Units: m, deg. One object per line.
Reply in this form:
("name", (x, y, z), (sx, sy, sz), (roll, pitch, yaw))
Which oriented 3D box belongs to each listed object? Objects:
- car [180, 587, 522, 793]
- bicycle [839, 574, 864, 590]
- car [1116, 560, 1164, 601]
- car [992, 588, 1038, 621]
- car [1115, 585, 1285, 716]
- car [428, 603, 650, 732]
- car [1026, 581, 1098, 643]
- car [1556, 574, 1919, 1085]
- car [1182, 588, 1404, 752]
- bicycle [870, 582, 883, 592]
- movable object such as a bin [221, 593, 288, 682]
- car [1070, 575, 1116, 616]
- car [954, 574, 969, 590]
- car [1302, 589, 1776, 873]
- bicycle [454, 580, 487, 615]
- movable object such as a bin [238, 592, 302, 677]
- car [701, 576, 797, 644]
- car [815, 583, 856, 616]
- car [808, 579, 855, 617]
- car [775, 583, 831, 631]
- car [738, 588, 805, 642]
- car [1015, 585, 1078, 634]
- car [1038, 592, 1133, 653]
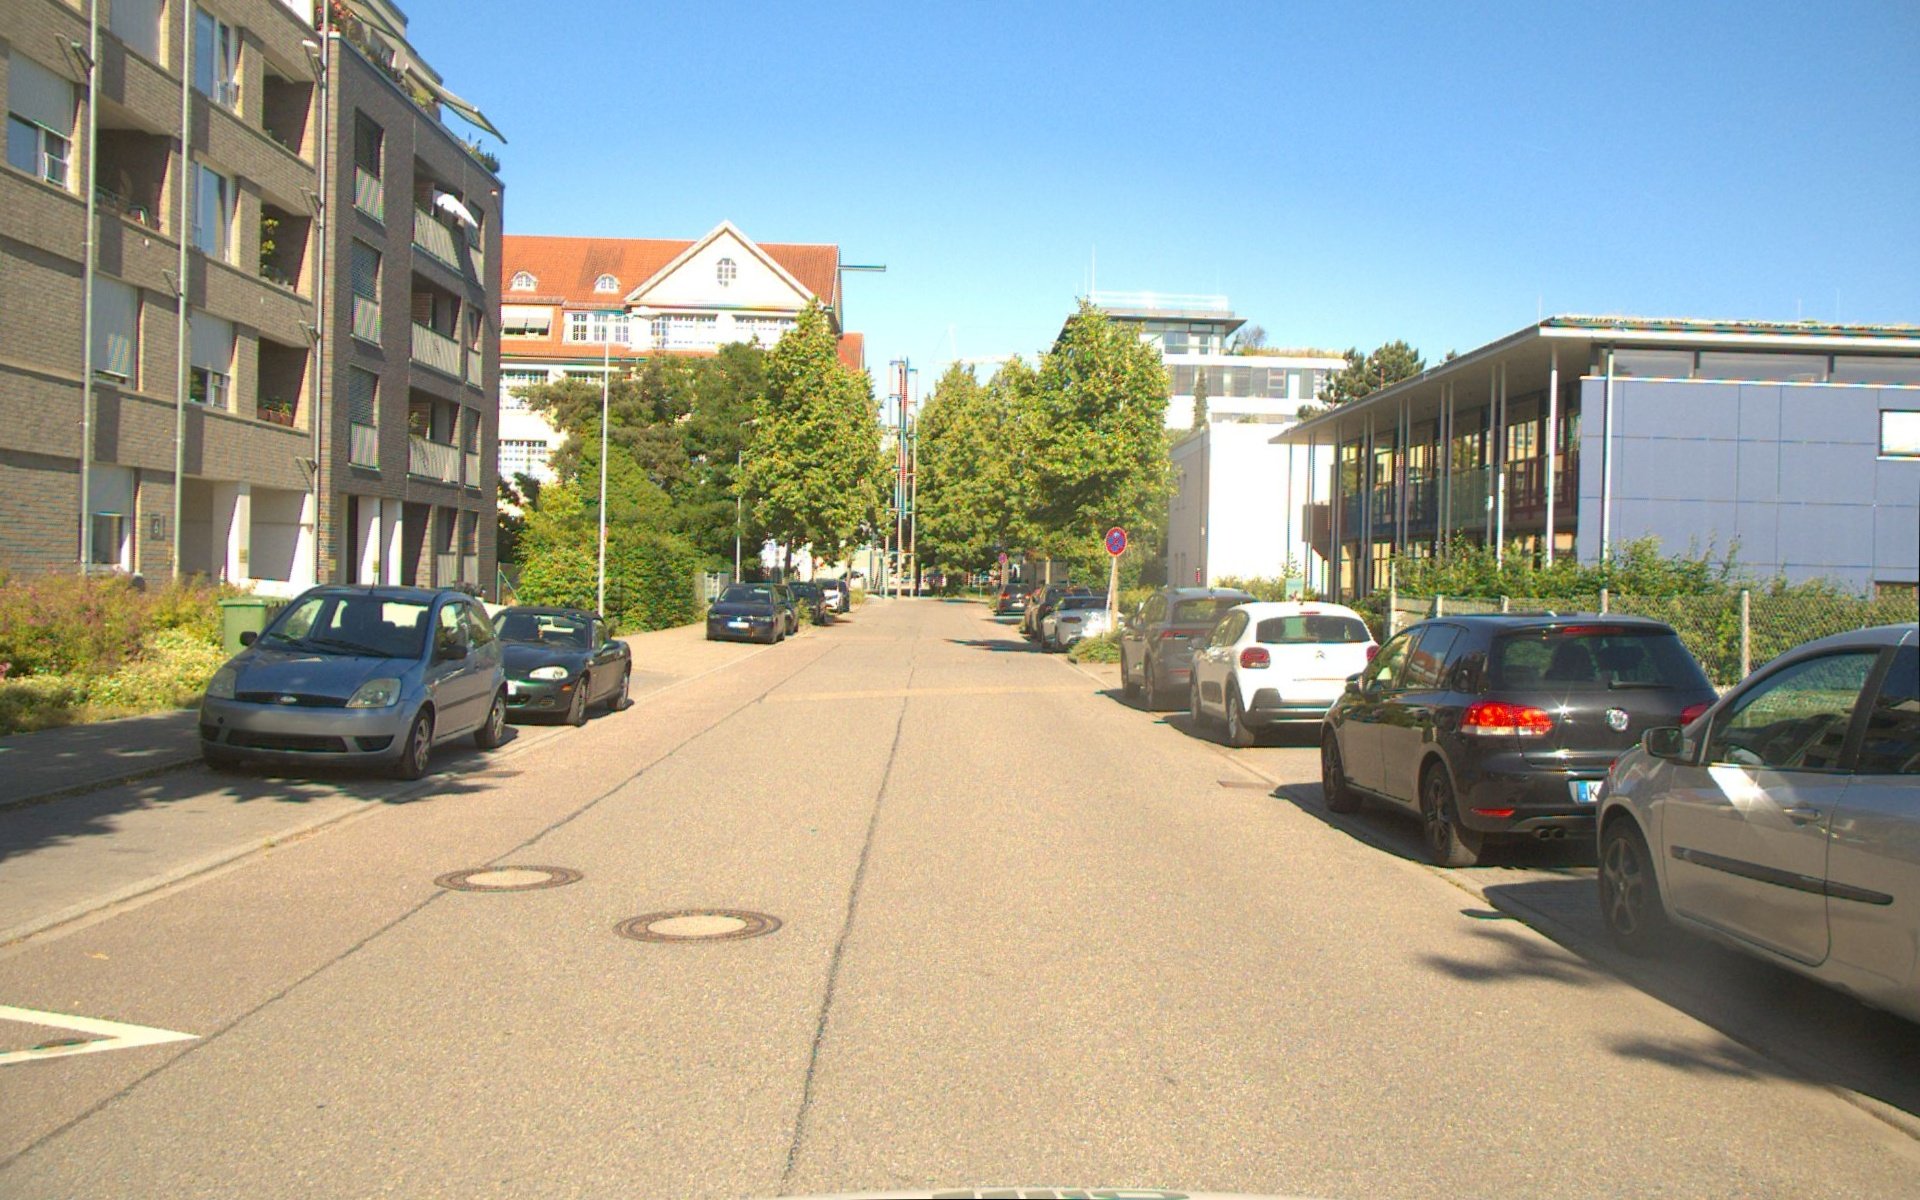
("car", (-4.988, 0.651, 14.102), (1.578, 1.490, 3.873), (1, 0, -2))
("bicycle", (-6.314, -1.058, 96.632), (1.438, 0.857, 0.335), (1, 1, -5))
("car", (9.291, -1.000, 85.532), (1.953, 2.049, 3.999), (1, 0, -1))
("car", (2.605, 0.197, 78.948), (1.953, 1.512, 3.999), (1, 0, -1))
("car", (3.351, 0.644, 23.832), (1.691, 1.681, 4.325), (-1, 0, -2))
("car", (-4.818, 0.716, 19.439), (1.566, 1.238, 3.875), (3, 1, 0))
("car", (3.037, 0.321, 49.845), (1.784, 1.749, 4.118), (-1, 0, -1))
("car", (3.773, 0.714, 6.124), (1.629, 1.539, 4.000), (1, 1, -1))
("car", (3.637, 0.698, 18.714), (1.645, 1.569, 3.848), (1, 1, -1))
("bicycle", (-5.872, -0.925, 116.454), (0.370, 0.695, 1.066), (0, 2, -37))
("movable object such as a bin", (-9.184, 0.479, 21.538), (0.595, 1.109, 0.636), (1, 1, -3))
("car", (6.839, -0.224, 85.417), (1.983, 2.049, 3.999), (1, 0, -1))
("car", (0.231, -2.515, 229.156), (1.953, 2.048, 4.000), (1, 1, -1))
("car", (3.599, 0.732, 11.098), (1.653, 1.520, 4.077), (1, 0, -1))
("bicycle", (-12.439, -0.068, 42.074), (0.248, 0.852, 1.775), (1, 1, 2))
("movable object such as a bin", (-9.296, 0.459, 22.286), (0.595, 1.102, 0.636), (1, 1, -3))
("car", (-5.400, 0.240, 42.810), (1.725, 1.554, 4.001), (4, 0, 2))
("car", (-5.803, -0.031, 77.116), (1.666, 1.496, 3.461), (1, 0, -1))
("car", (-5.586, -0.093, 72.242), (1.741, 1.556, 3.999), (3, 0, -1))
("car", (-5.565, 0.220, 58.932), (1.660, 1.633, 3.941), (1, 0, -1))
("car", (-5.609, 0.427, 49.587), (1.597, 1.527, 3.577), (1, 0, -1))
("car", (2.874, 0.310, 55.570), (1.797, 1.542, 3.879), (1, 0, -1))
("car", (3.154, 0.553, 42.348), (1.793, 1.447, 4.230), (-1, 0, -4))
